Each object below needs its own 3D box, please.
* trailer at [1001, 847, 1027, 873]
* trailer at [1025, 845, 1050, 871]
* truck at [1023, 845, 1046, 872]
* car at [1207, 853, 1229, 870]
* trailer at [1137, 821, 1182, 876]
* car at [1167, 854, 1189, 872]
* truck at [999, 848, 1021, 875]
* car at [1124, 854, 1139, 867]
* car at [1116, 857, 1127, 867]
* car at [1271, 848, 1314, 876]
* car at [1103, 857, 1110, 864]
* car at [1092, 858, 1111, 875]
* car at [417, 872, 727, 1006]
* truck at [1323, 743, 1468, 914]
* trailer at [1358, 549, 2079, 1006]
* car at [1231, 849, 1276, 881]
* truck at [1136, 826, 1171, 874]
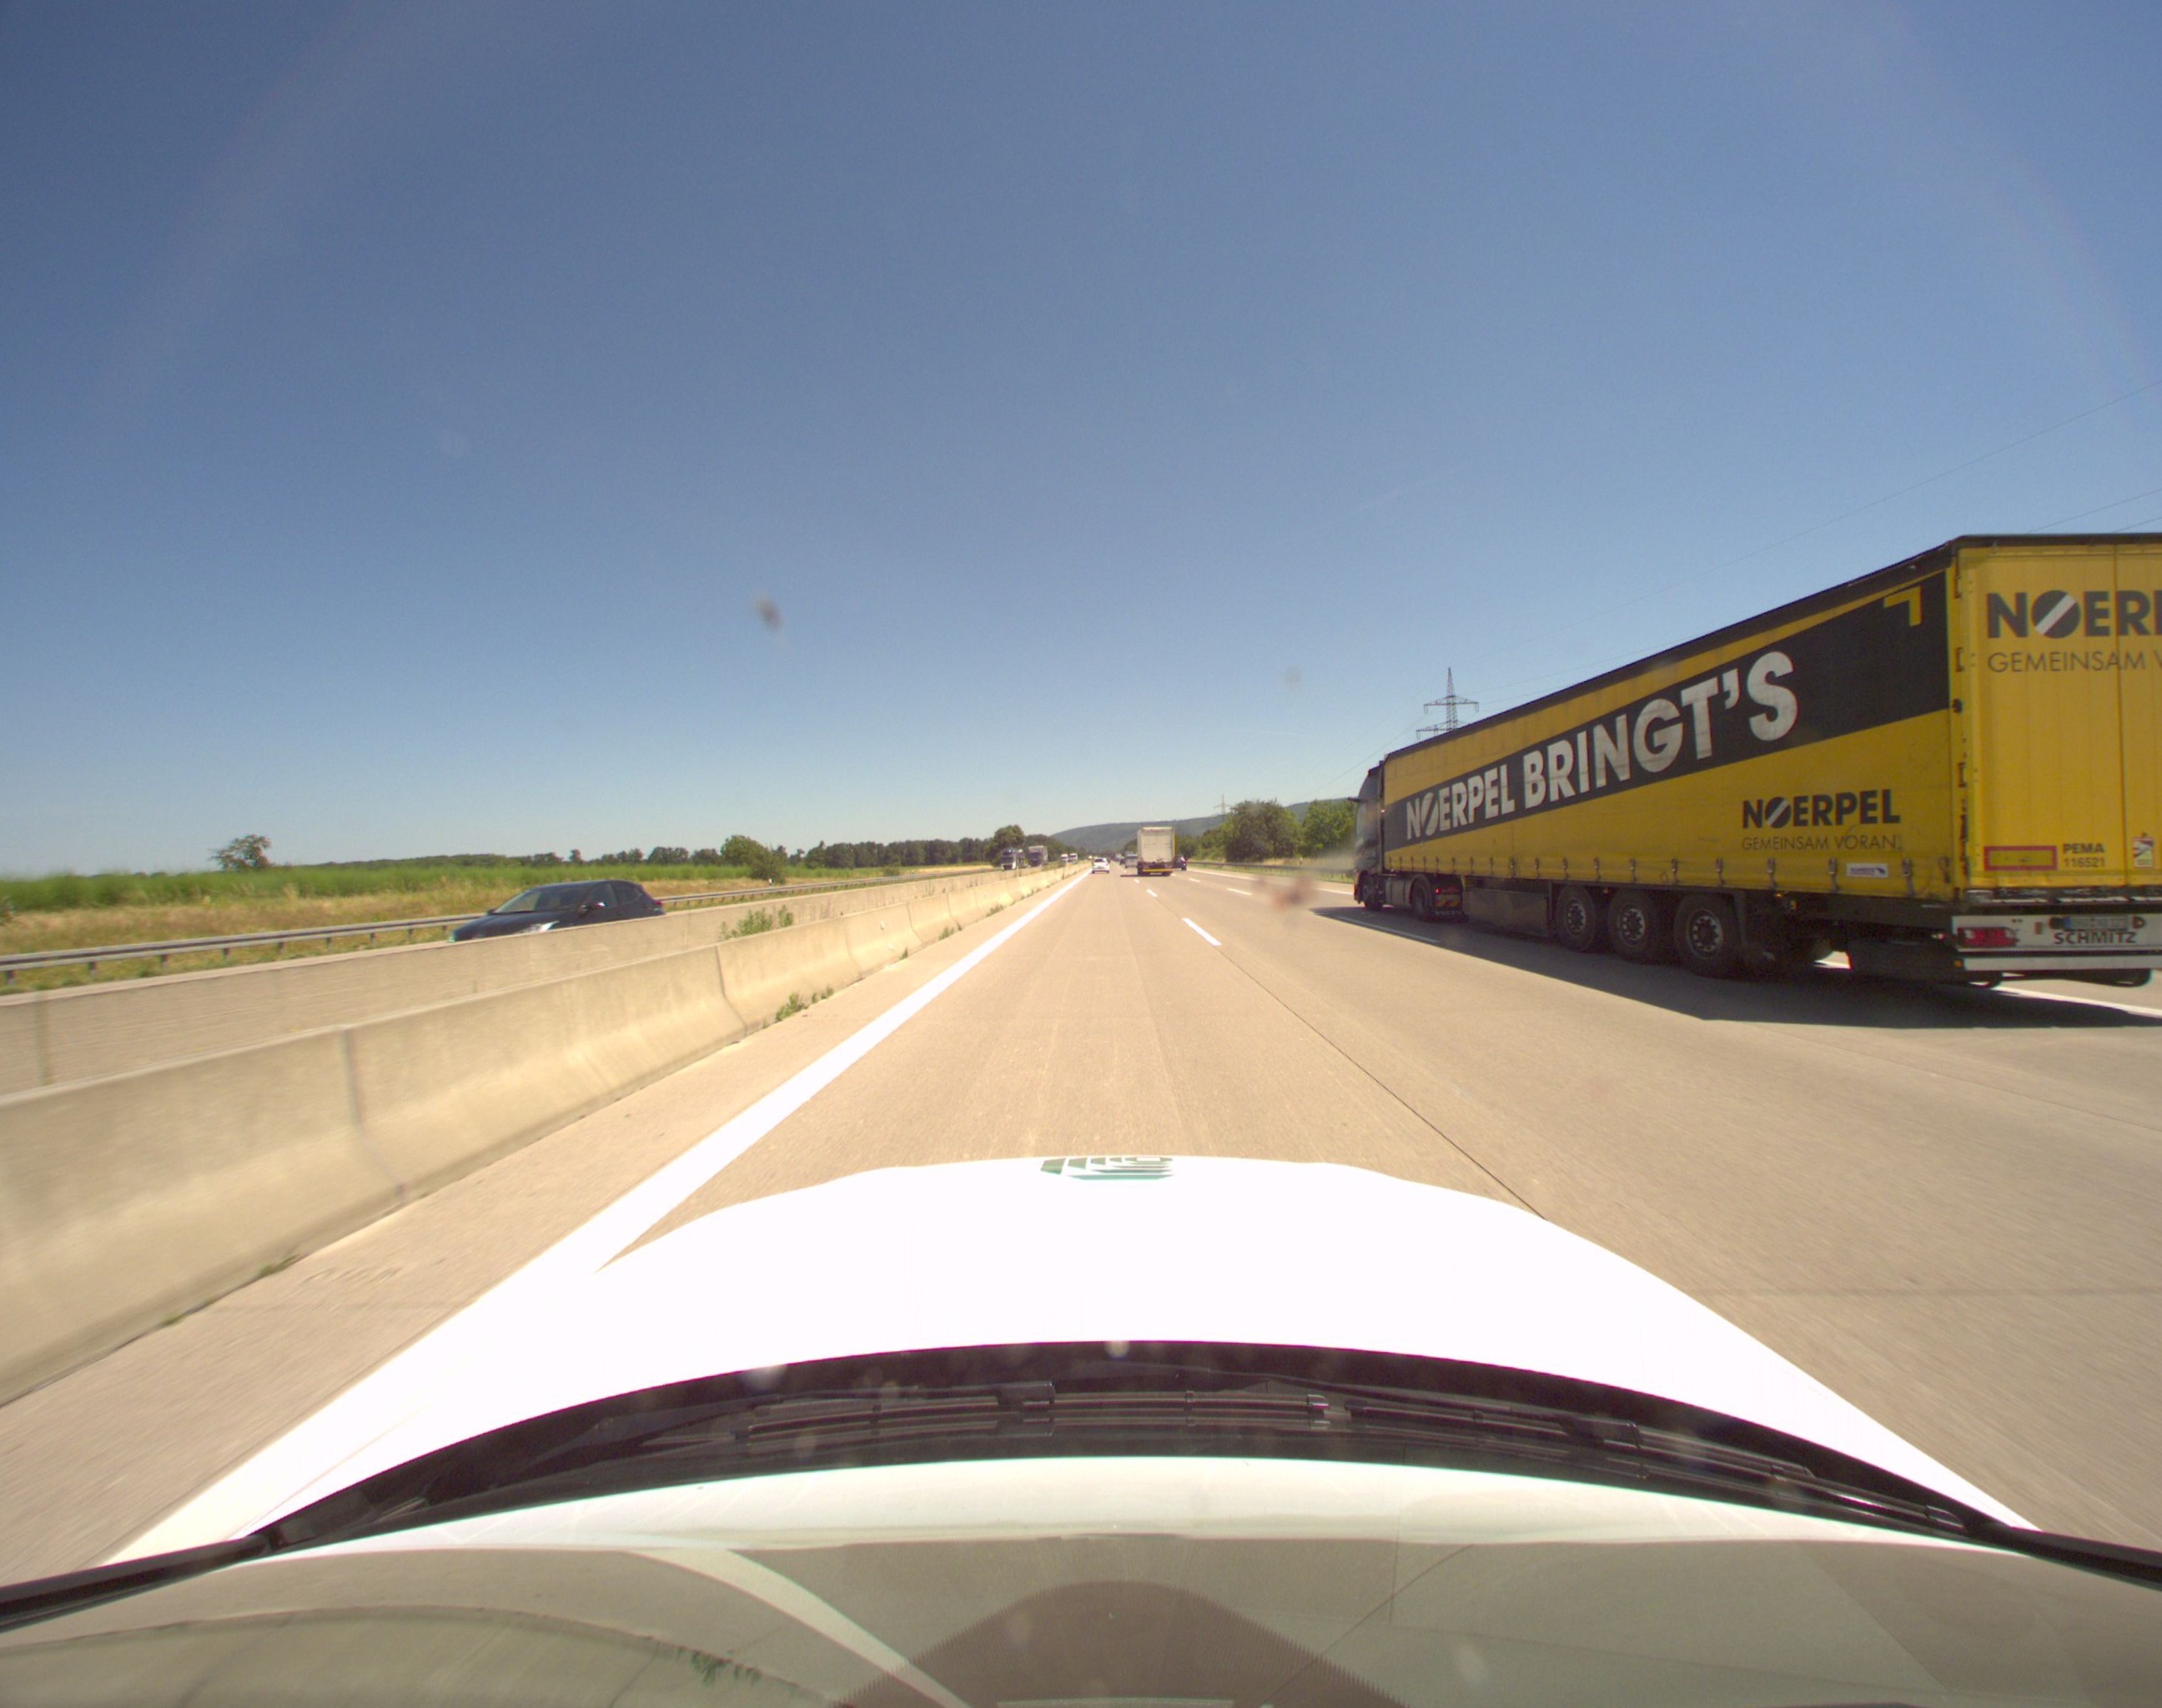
[{"bbox_3d":[-12.156,1.086,148.913,3.219,4.606,12.297,0,0,2],"label":"trailer"},{"bbox_3d":[-8.042,0.836,151.361,3.255,4.476,14.455,-3,-1,2],"label":"trailer"},{"bbox_3d":[-8.200,0.789,144.323,3.255,4.476,7.191,-3,-1,1],"label":"truck"},{"bbox_3d":[16.219,0.883,96.484,1.986,1.849,4.001,1,0,1],"label":"car"},{"bbox_3d":[5.930,-0.322,62.938,2.572,3.878,10.374,0,0,1],"label":"trailer"},{"bbox_3d":[10.560,1.007,89.216,1.986,1.849,4.001,1,0,1],"label":"car"},{"bbox_3d":[-12.364,1.328,142.170,3.219,4.607,6.252,0,-1,2],"label":"truck"},{"bbox_3d":[7.202,0.947,116.697,1.986,1.849,4.001,0,0,1],"label":"car"},{"bbox_3d":[8.272,1.634,167.672,1.987,1.849,4.000,1,0,1],"label":"car"},{"bbox_3d":[14.664,0.557,56.688,1.986,1.849,4.001,1,0,1],"label":"car"},{"bbox_3d":[7.140,1.903,227.262,1.986,1.849,4.001,1,0,1],"label":"car"},{"bbox_3d":[1.992,1.217,81.167,1.813,1.662,4.000,-1,0,1],"label":"car"},{"bbox_3d":[-8.605,1.295,14.600,1.986,1.862,5.469,0,0,2],"label":"car"},{"bbox_3d":[8.617,-0.614,22.964,1.986,4.193,5.708,0,-1,2],"label":"truck"},{"bbox_3d":[8.366,-0.658,14.874,1.986,4.193,14.751,0,0,2],"label":"trailer"},{"bbox_3d":[10.471,0.662,49.688,1.986,1.849,4.001,1,0,1],"label":"car"},{"bbox_3d":[6.049,-0.311,68.449,2.572,3.878,4.985,0,-1,1],"label":"truck"}]
